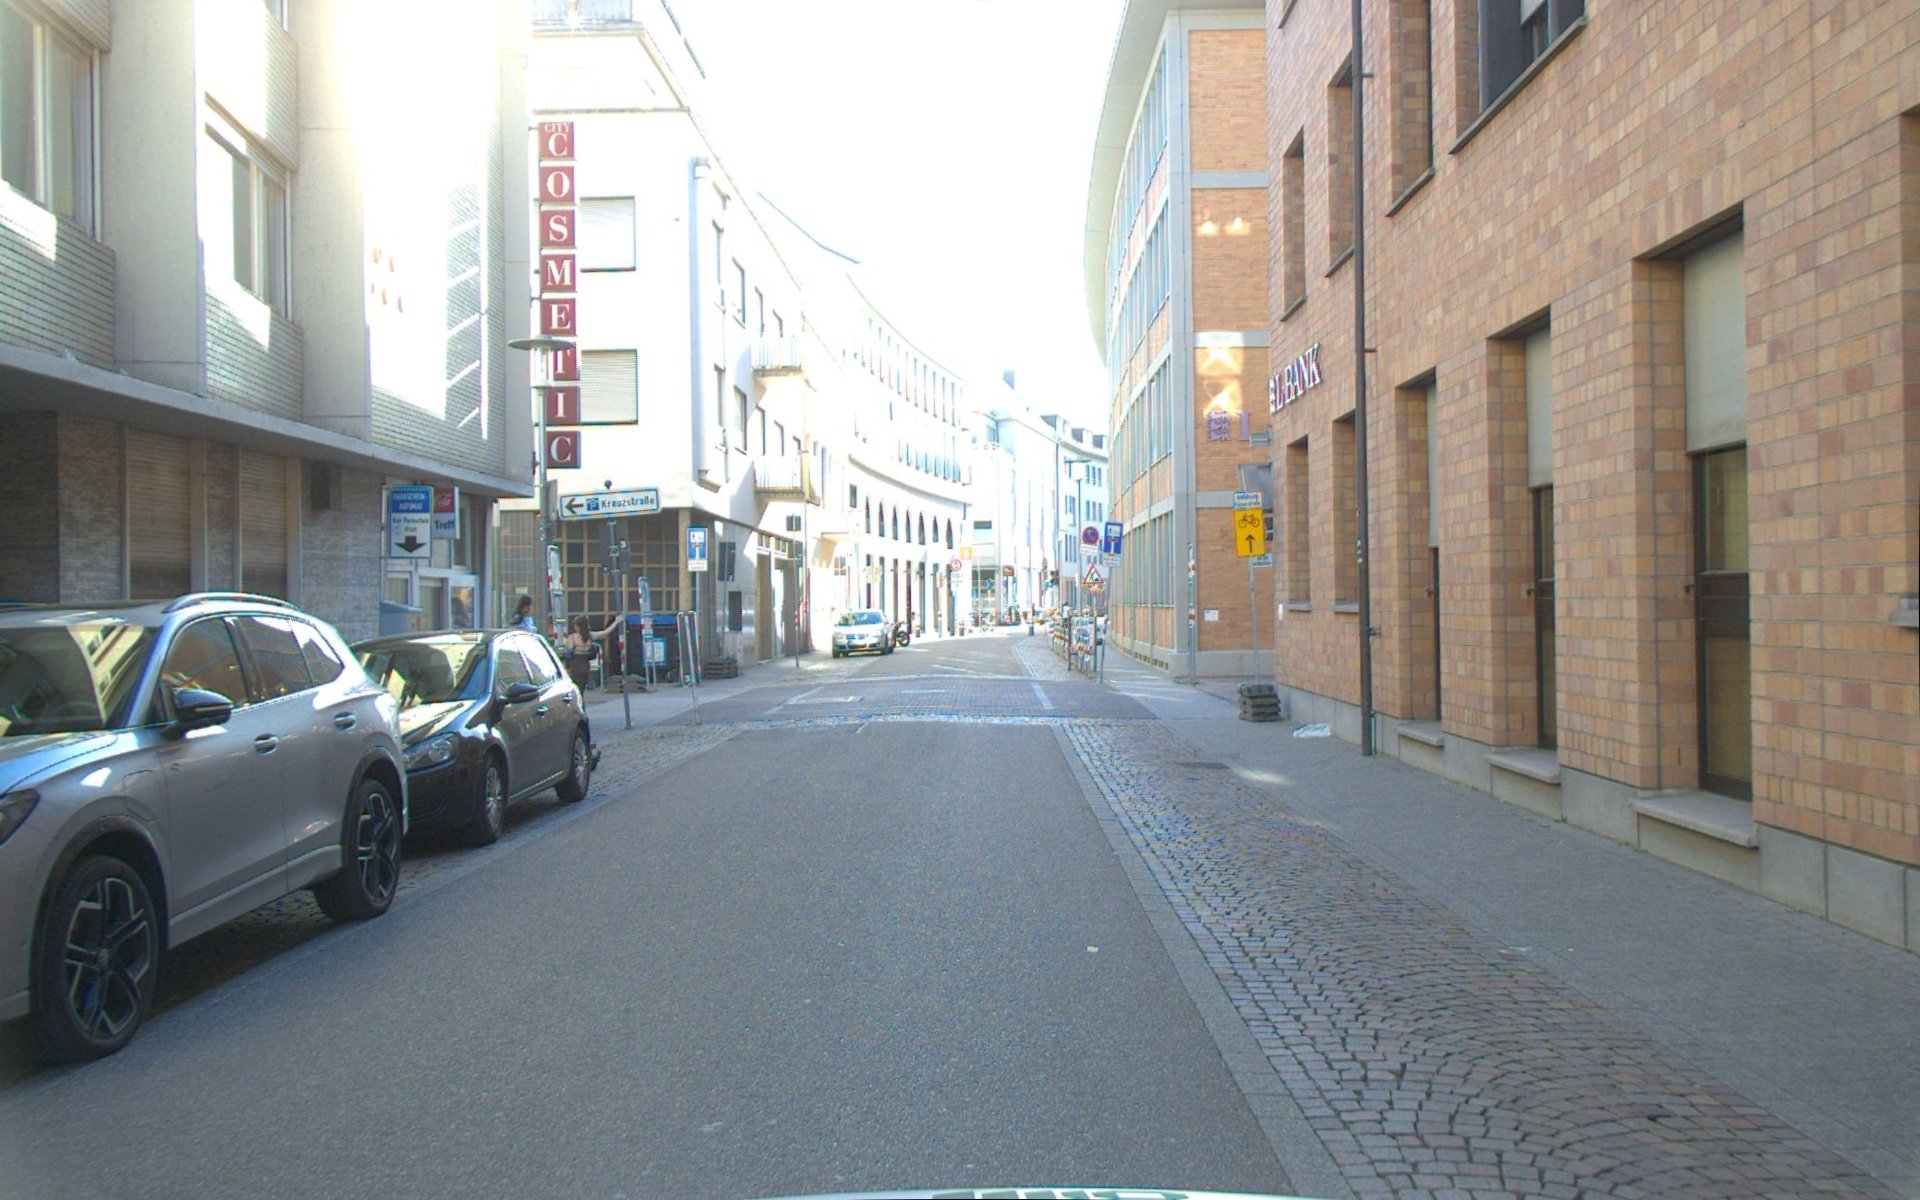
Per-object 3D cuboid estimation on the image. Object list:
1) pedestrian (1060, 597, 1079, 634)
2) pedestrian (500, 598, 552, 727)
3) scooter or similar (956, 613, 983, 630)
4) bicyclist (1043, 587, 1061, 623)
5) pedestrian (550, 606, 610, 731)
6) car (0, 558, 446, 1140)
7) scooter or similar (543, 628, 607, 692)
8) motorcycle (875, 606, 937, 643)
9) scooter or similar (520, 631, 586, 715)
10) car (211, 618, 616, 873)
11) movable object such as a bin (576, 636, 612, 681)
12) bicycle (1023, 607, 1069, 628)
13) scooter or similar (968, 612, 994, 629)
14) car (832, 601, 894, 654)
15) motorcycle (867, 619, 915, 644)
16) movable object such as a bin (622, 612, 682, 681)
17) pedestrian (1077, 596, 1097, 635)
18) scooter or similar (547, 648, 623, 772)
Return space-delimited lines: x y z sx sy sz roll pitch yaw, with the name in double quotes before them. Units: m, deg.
"pedestrian" 5.684 0.783 85.986 0.652 1.901 0.778 1 -1 -29
"pedestrian" -6.053 0.865 23.089 0.438 1.769 0.552 -1 0 24
"scooter or similar" 0.569 1.248 95.368 0.515 0.944 2.223 0 0 30
"bicyclist" 6.276 0.323 112.830 1.067 2.431 0.742 1 -1 14
"pedestrian" -5.134 0.914 22.363 0.641 1.654 0.450 0 0 -41
"car" -3.840 0.773 7.017 1.851 1.772 4.391 -1 0 1
"scooter or similar" -7.727 1.194 33.234 1.133 1.228 0.480 -2 0 1
"motorcycle" -2.076 0.948 63.907 2.341 1.340 0.862 -2 0 0
"scooter or similar" -5.873 1.042 23.868 0.781 1.182 0.629 1 -1 -29
"car" -3.898 0.952 12.545 1.615 1.486 3.999 -3 0 1
"movable object such as a bin" -7.718 1.230 34.889 0.517 0.917 0.533 0 -1 44
"bicycle" 5.893 1.178 112.901 3.022 1.378 0.702 1 -1 14
"scooter or similar" 1.276 1.225 98.891 0.515 0.944 2.223 0 0 30
"car" -3.056 0.842 52.707 1.700 1.634 3.533 0 0 1
"motorcycle" -2.512 1.134 60.245 1.655 0.874 0.595 1 -1 5
"movable object such as a bin" -6.627 0.997 35.612 0.869 1.445 0.928 0 -1 44
"pedestrian" 6.205 0.766 80.652 0.652 1.901 0.753 1 -1 -29
"scooter or similar" -3.927 1.136 17.281 0.408 1.218 1.110 -5 0 -28
